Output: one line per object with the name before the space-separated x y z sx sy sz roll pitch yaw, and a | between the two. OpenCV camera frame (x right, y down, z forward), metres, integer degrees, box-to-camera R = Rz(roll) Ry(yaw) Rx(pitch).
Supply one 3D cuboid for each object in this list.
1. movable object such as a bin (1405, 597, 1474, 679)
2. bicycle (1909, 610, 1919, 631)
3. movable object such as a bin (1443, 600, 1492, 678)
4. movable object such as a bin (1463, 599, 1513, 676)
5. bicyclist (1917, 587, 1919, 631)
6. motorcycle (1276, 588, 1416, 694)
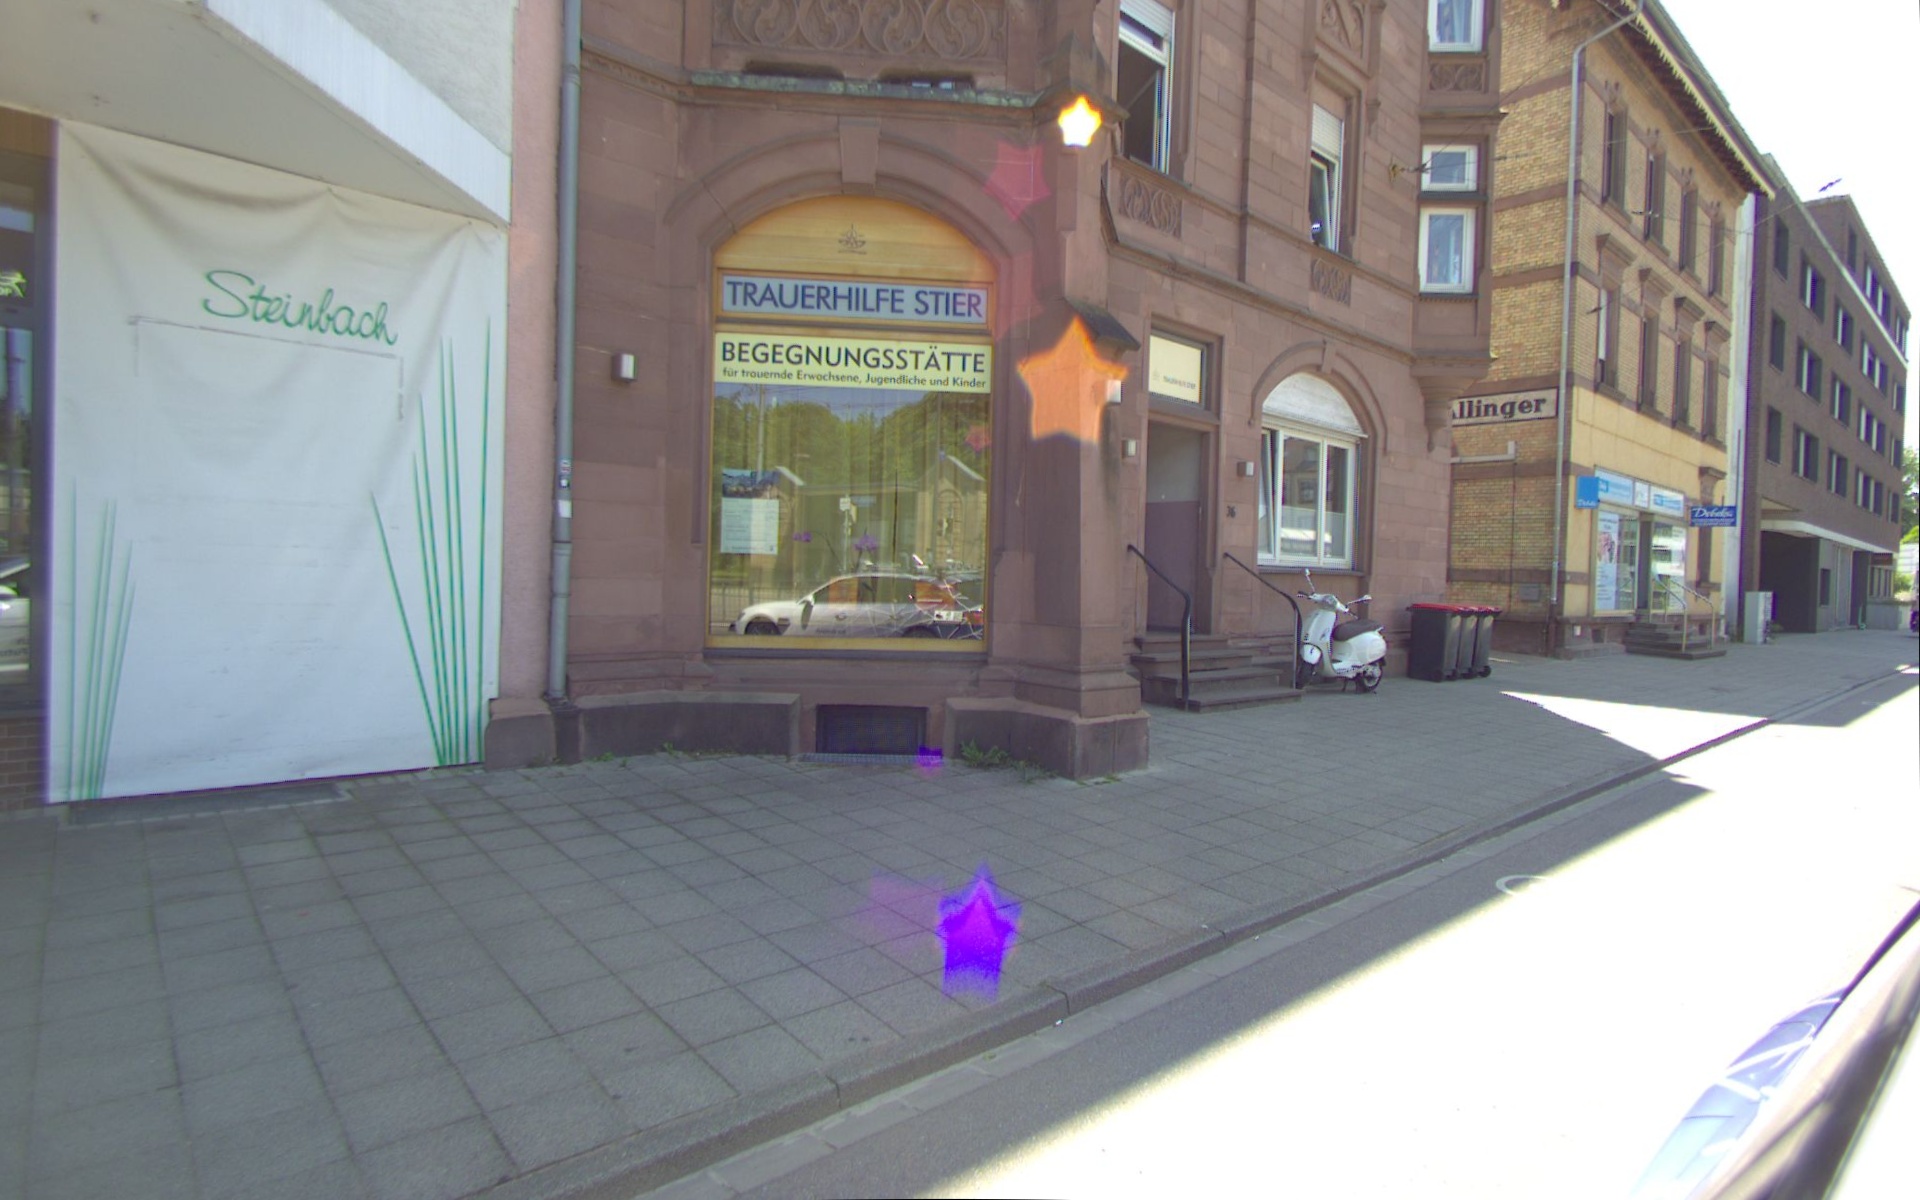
movable object such as a bin | 6.671 0.516 14.090 0.549 1.061 0.649 0 4 -42
bicycle | 38.379 0.825 39.959 1.868 0.807 0.691 1 1 -25
movable object such as a bin | 7.197 0.541 14.347 0.549 1.061 0.376 0 4 -42
movable object such as a bin | 7.669 0.534 14.689 0.646 1.061 0.376 0 4 -42
bicyclist | 38.513 0.357 39.994 0.909 1.744 0.673 1 1 -26
motorcycle | 4.534 0.454 11.848 1.843 1.163 0.529 1 1 -33
